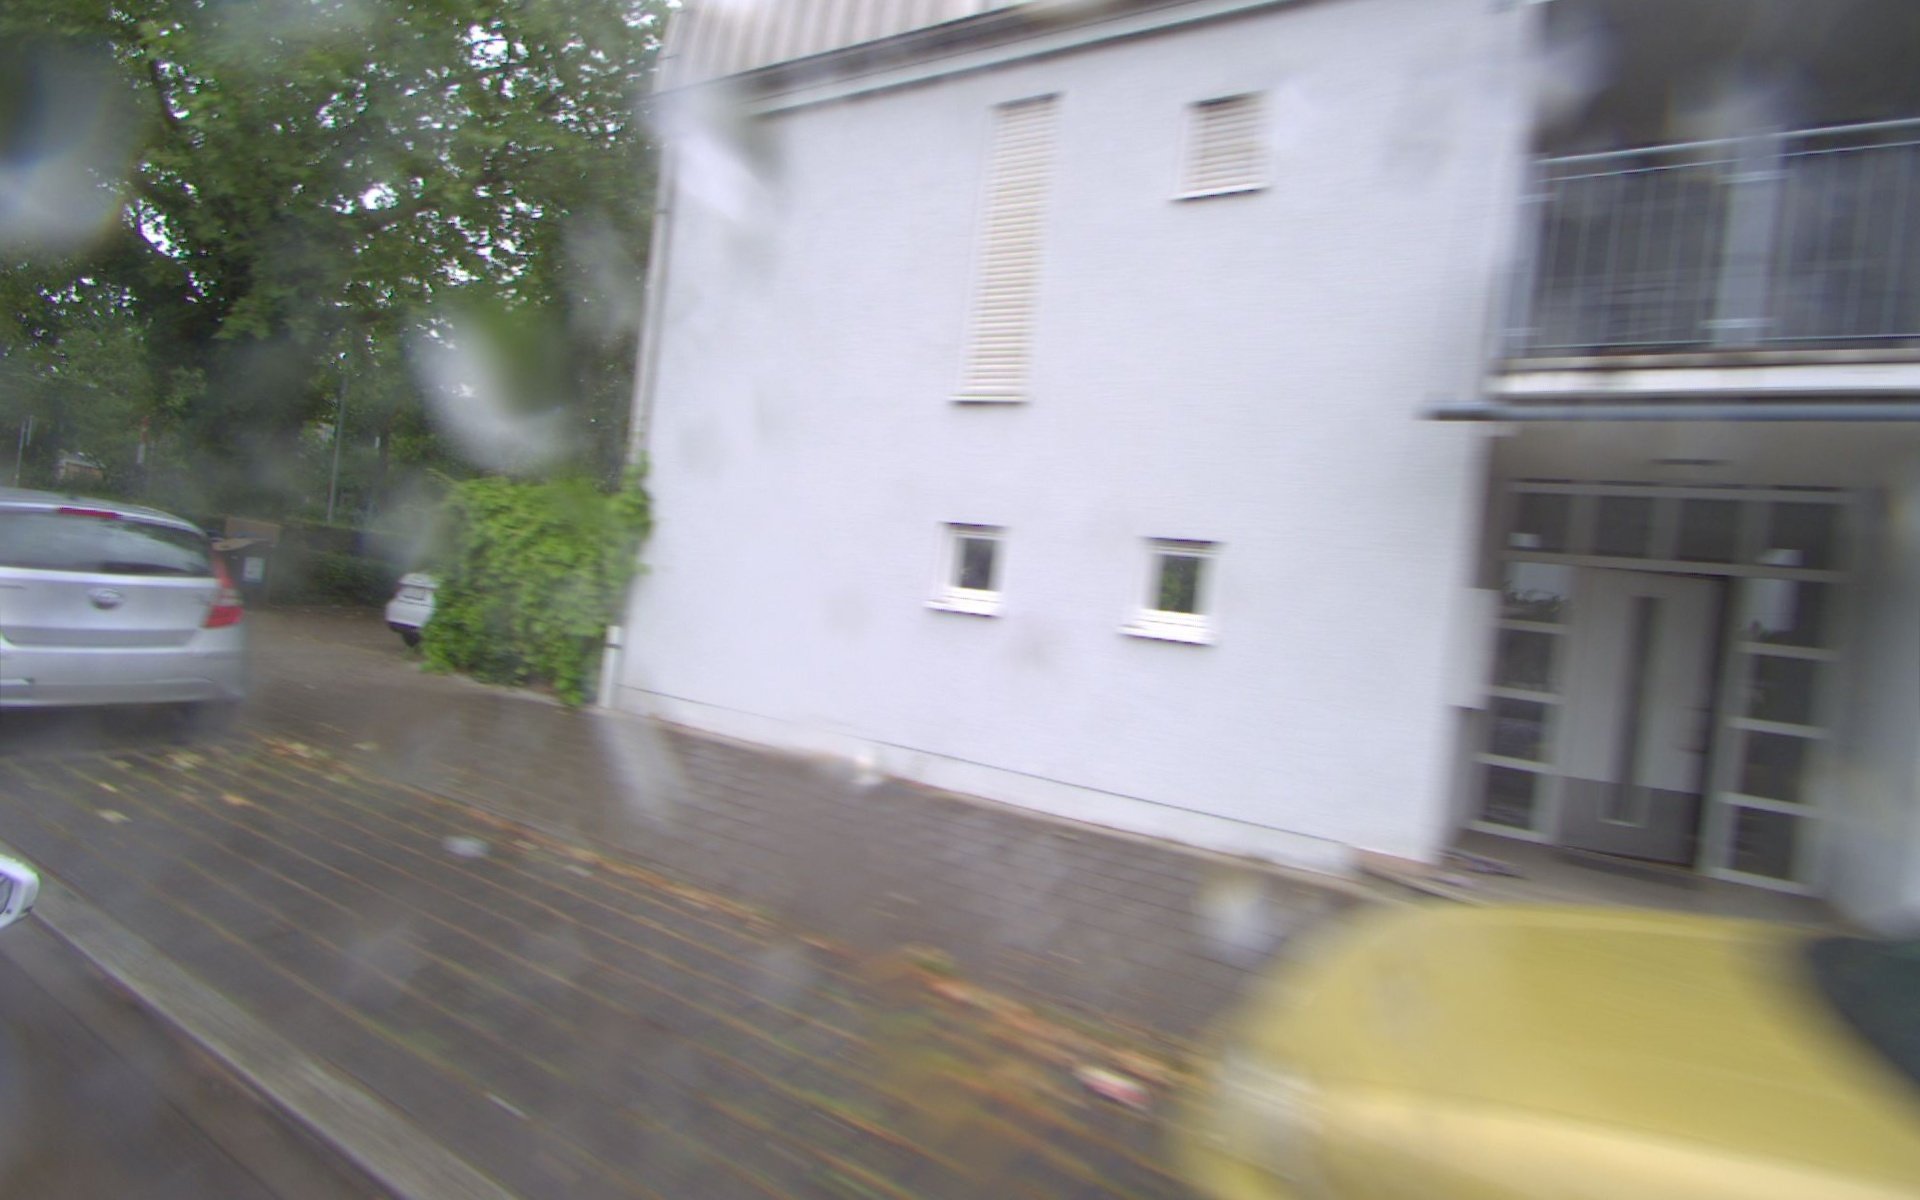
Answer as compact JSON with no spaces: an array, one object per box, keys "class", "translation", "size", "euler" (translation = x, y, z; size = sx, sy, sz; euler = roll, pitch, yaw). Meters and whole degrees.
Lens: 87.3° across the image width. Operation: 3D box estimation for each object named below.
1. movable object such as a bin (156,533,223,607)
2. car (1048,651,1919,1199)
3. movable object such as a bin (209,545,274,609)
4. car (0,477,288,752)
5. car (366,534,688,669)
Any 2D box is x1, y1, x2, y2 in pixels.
[{"class":"movable object such as a bin","translation":[-11.697,-0.456,15.277],"size":[0.726,1.035,0.536],"euler":[6,2,31]},{"class":"car","translation":[2.204,1.008,1.458],"size":[3.732,1.424,1.806],"euler":[6,2,32]},{"class":"movable object such as a bin","translation":[-11.207,-0.355,15.688],"size":[0.726,0.911,0.536],"euler":[6,2,31]},{"class":"car","translation":[-6.480,-0.060,6.816],"size":[3.732,1.487,1.806],"euler":[6,2,32]},{"class":"car","translation":[-5.906,0.091,14.118],"size":[1.732,1.393,3.701],"euler":[6,-2,34]}]
